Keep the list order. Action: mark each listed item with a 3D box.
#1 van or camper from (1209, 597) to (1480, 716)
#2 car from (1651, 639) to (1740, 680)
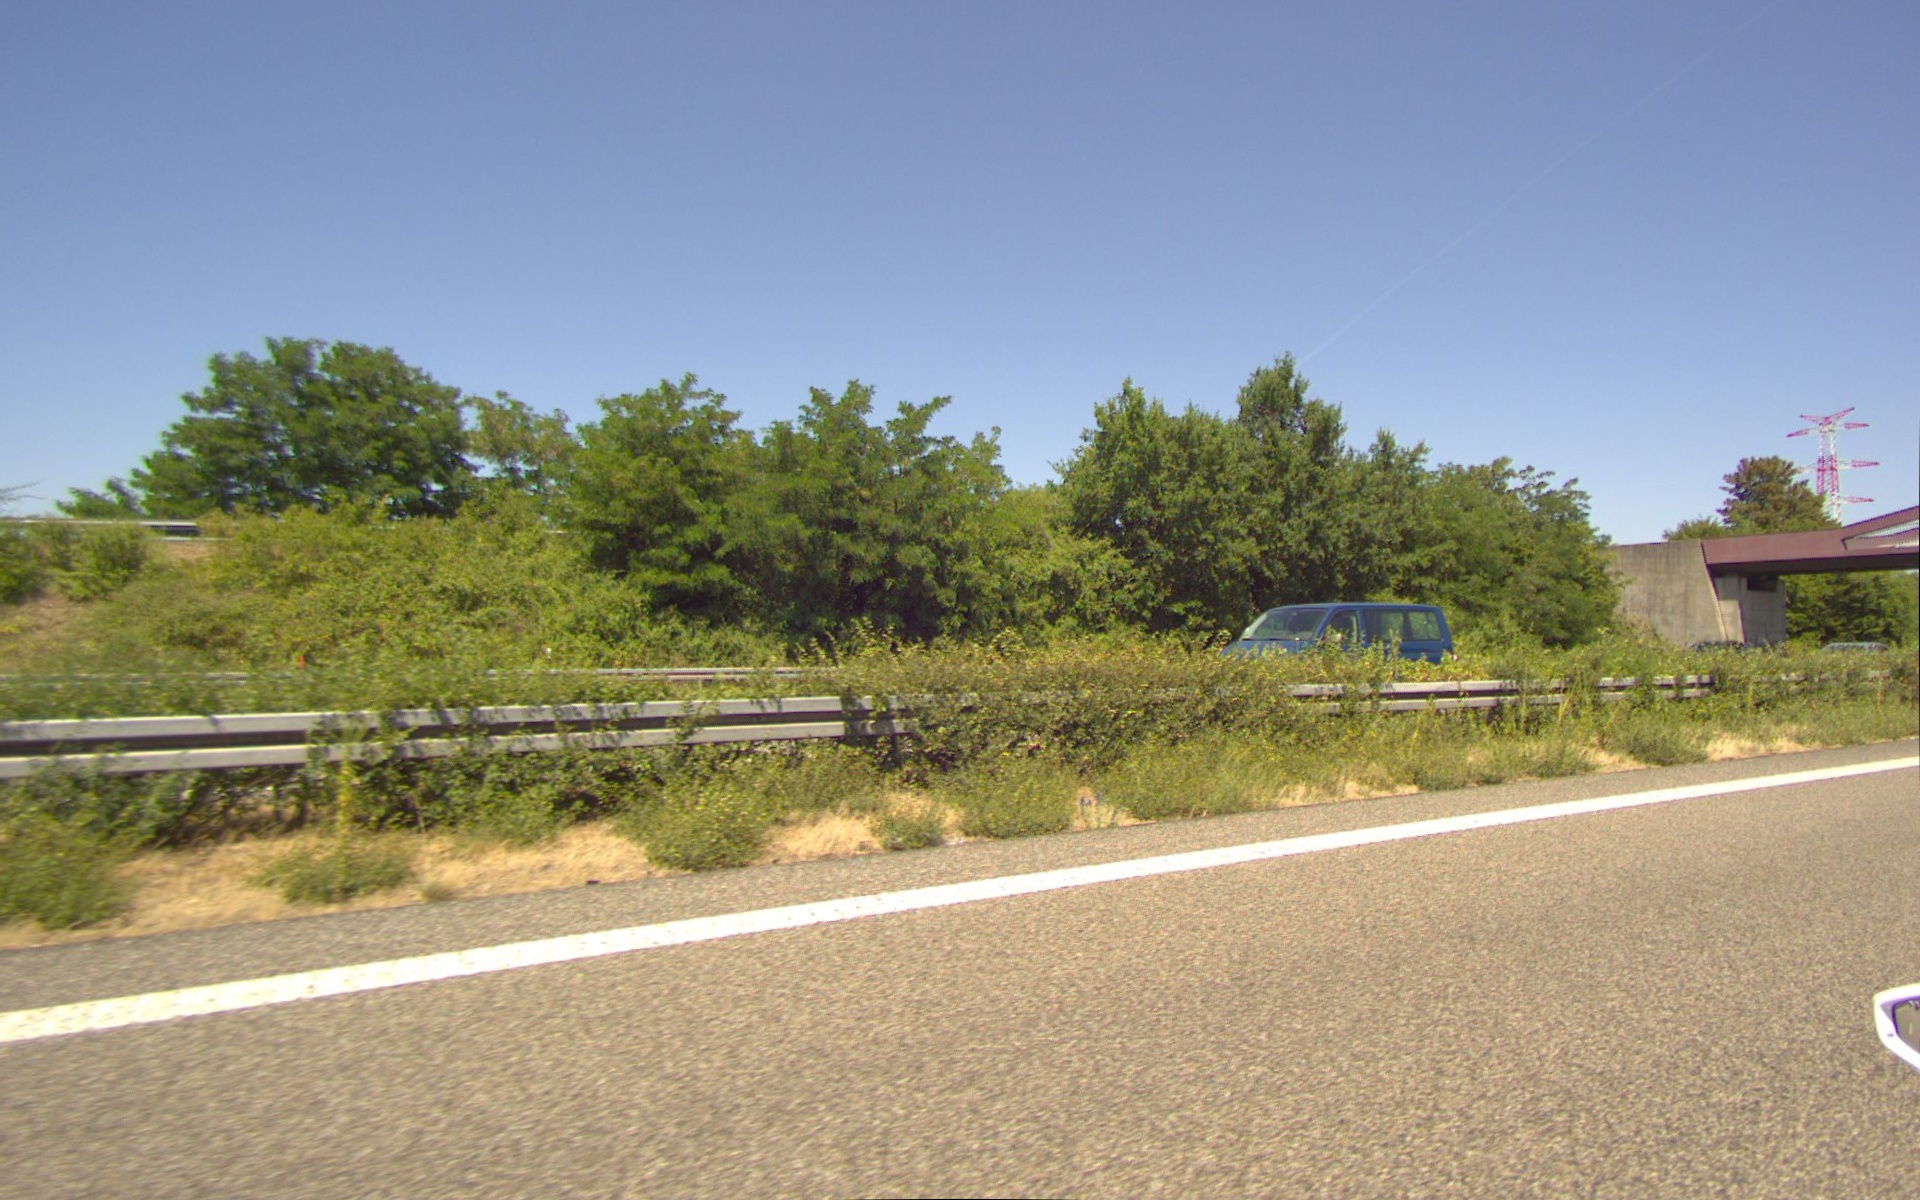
[{"bbox_3d":[6.819,0.929,17.657,4.817,1.837,1.835,1,0,-30],"label":"van or camper"},{"bbox_3d":[34.782,2.775,47.501,4.348,1.792,1.693,1,0,-29],"label":"car"}]
